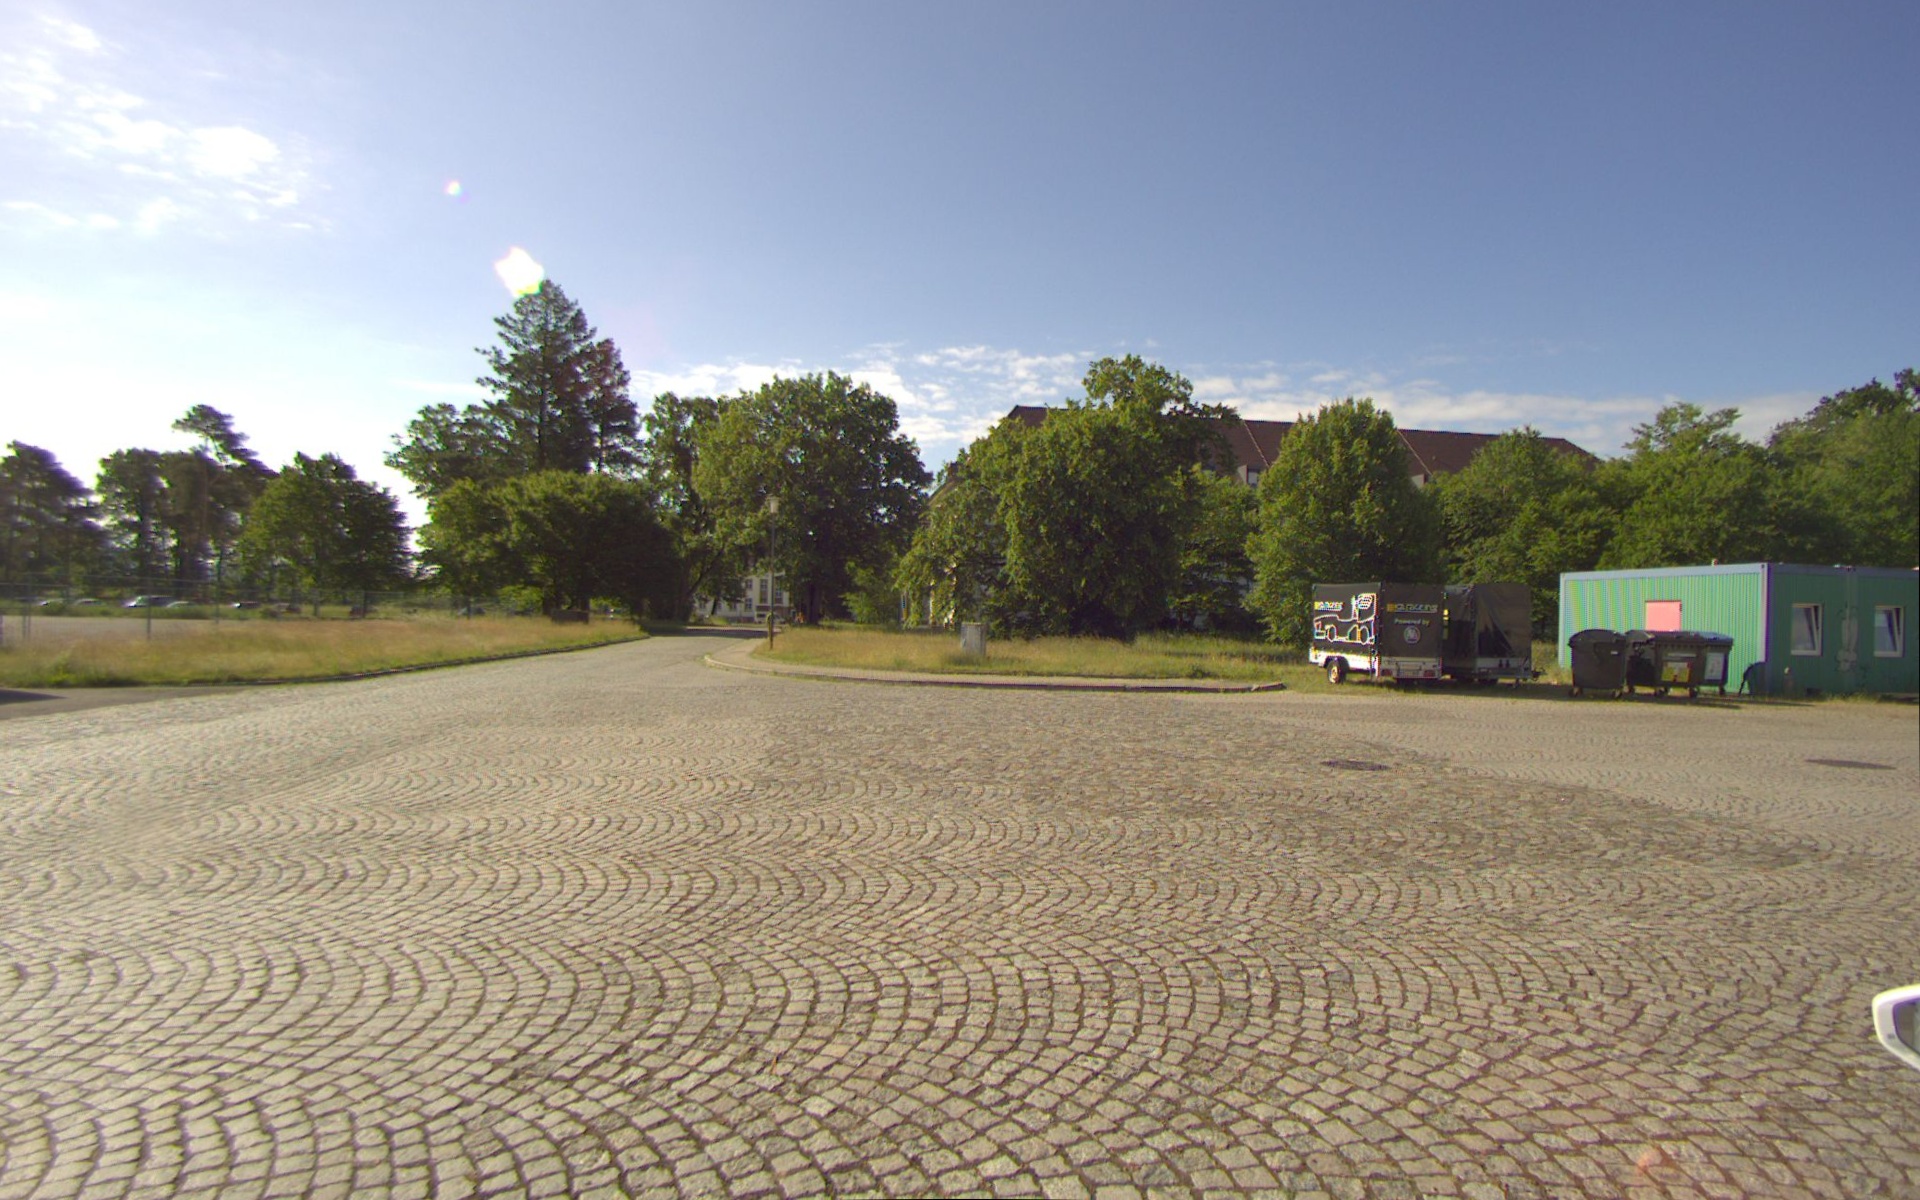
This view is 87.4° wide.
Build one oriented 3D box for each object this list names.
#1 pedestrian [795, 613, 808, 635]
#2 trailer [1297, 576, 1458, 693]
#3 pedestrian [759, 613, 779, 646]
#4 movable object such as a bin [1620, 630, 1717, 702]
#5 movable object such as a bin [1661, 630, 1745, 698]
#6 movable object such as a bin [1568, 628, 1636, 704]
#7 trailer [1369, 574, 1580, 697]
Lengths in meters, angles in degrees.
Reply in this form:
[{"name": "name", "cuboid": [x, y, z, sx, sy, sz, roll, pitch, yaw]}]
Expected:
[{"name": "pedestrian", "cuboid": [-14.980, 2.279, 95.113, 1.139, 1.954, 1.322, 2, 0, -7]}, {"name": "trailer", "cuboid": [9.681, 0.757, 23.593, 2.007, 2.502, 3.391, 2, 0, -8]}, {"name": "pedestrian", "cuboid": [-11.904, 1.821, 62.656, 1.139, 1.954, 1.125, 2, 0, -7]}, {"name": "movable object such as a bin", "cuboid": [15.556, 1.429, 22.079, 1.414, 1.477, 1.019, 2, 0, -9]}, {"name": "movable object such as a bin", "cuboid": [17.074, 1.466, 23.089, 1.418, 1.477, 0.881, 2, 0, -20]}, {"name": "movable object such as a bin", "cuboid": [13.584, 1.362, 21.253, 1.136, 1.477, 1.434, 2, 0, 34]}, {"name": "trailer", "cuboid": [12.060, 0.773, 23.955, 1.918, 2.602, 4.640, 2, 0, -12]}]
